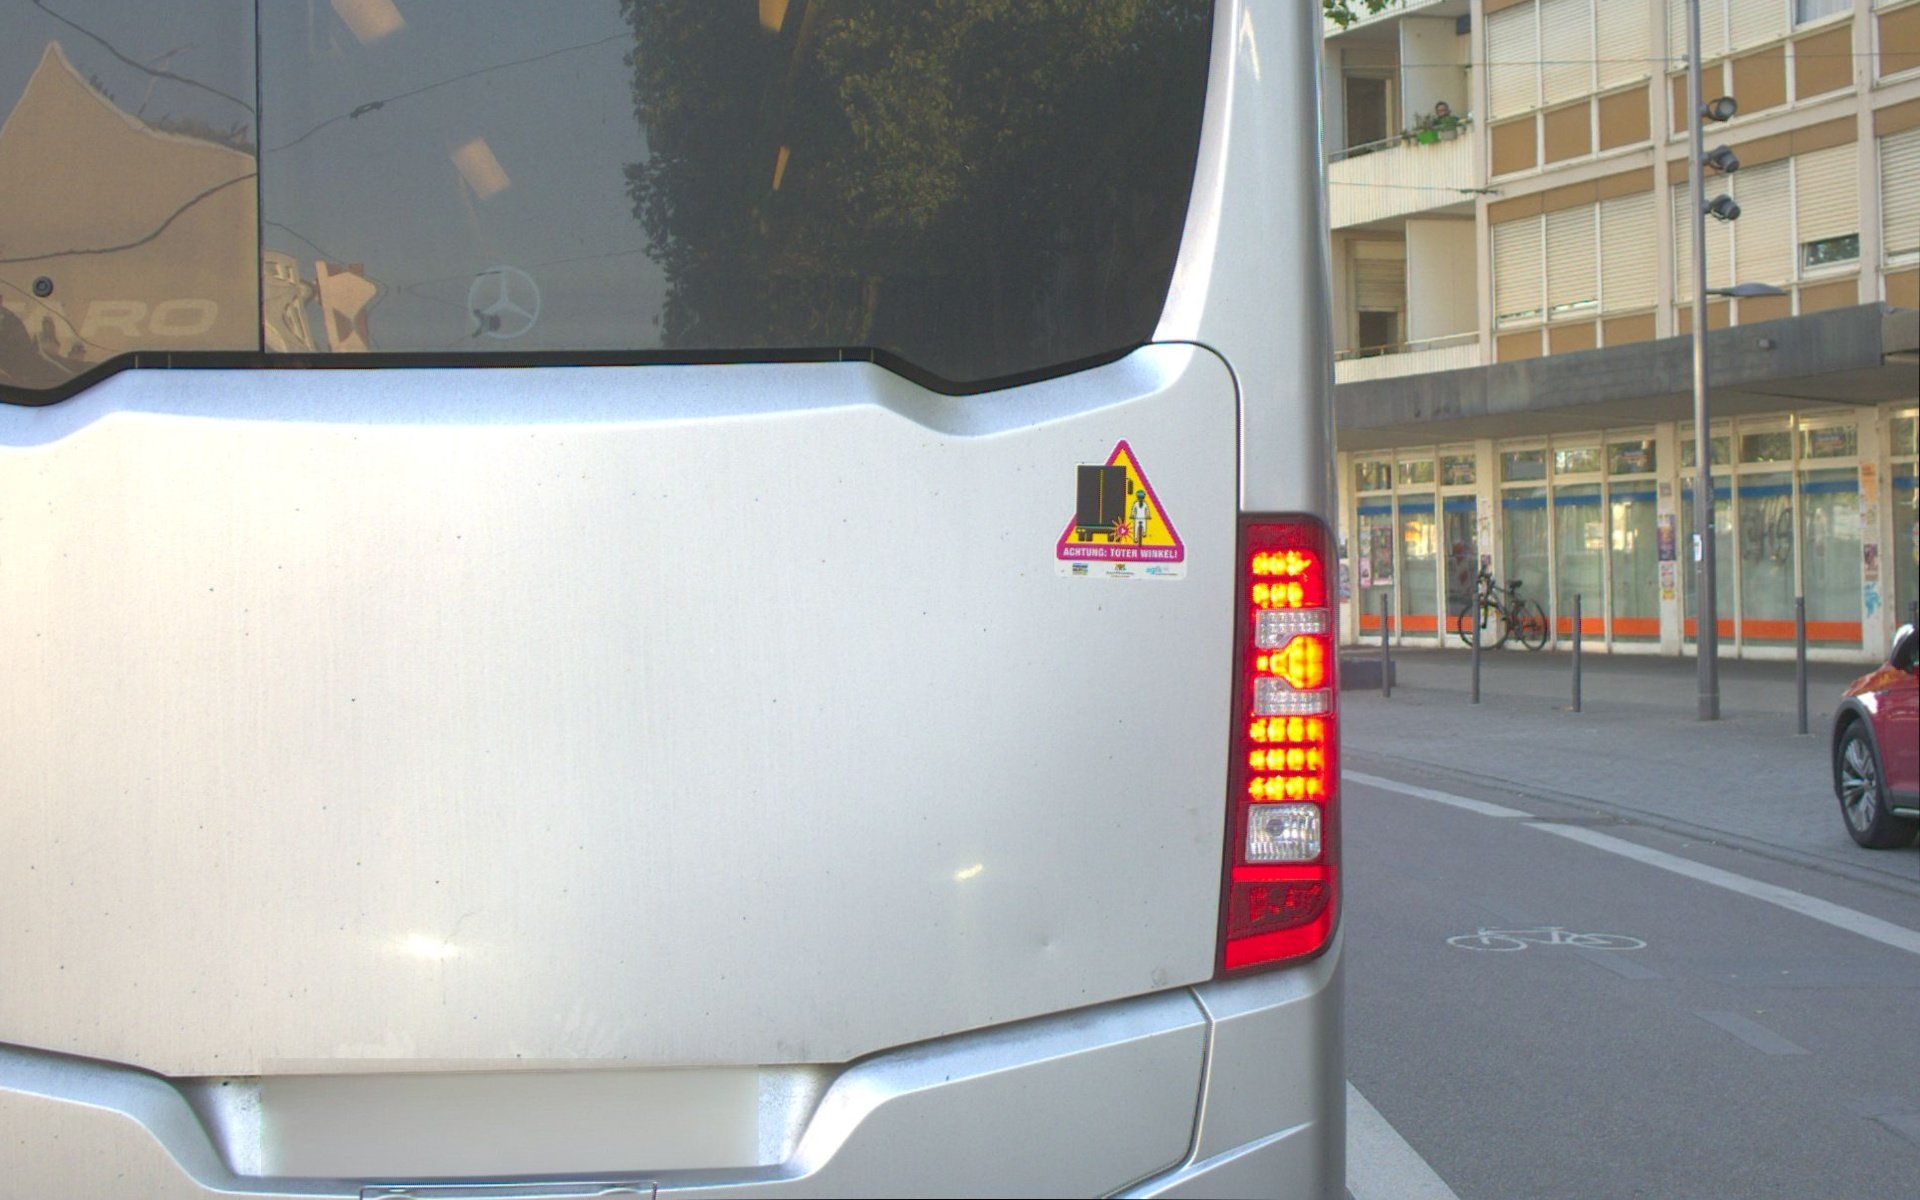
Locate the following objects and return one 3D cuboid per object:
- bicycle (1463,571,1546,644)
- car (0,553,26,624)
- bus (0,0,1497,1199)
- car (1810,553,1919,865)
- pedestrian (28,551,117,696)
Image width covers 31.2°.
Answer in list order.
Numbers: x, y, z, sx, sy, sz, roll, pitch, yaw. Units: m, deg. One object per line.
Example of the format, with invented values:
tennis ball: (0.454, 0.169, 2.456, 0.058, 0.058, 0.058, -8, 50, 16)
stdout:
bicycle: (7.199, 0.089, 45.537, 0.412, 0.941, 1.441, -1, 1, -20)
car: (-25.740, -0.318, 87.990, 1.994, 1.785, 3.998, 1, 0, -41)
bus: (-0.758, -0.142, 9.838, 2.630, 3.017, 9.998, 0, 1, -2)
car: (5.507, 0.505, 15.869, 1.769, 1.477, 4.304, -2, 1, -4)
pedestrian: (-10.725, 0.275, 41.548, 0.897, 1.722, 0.517, -1, 1, 2)
